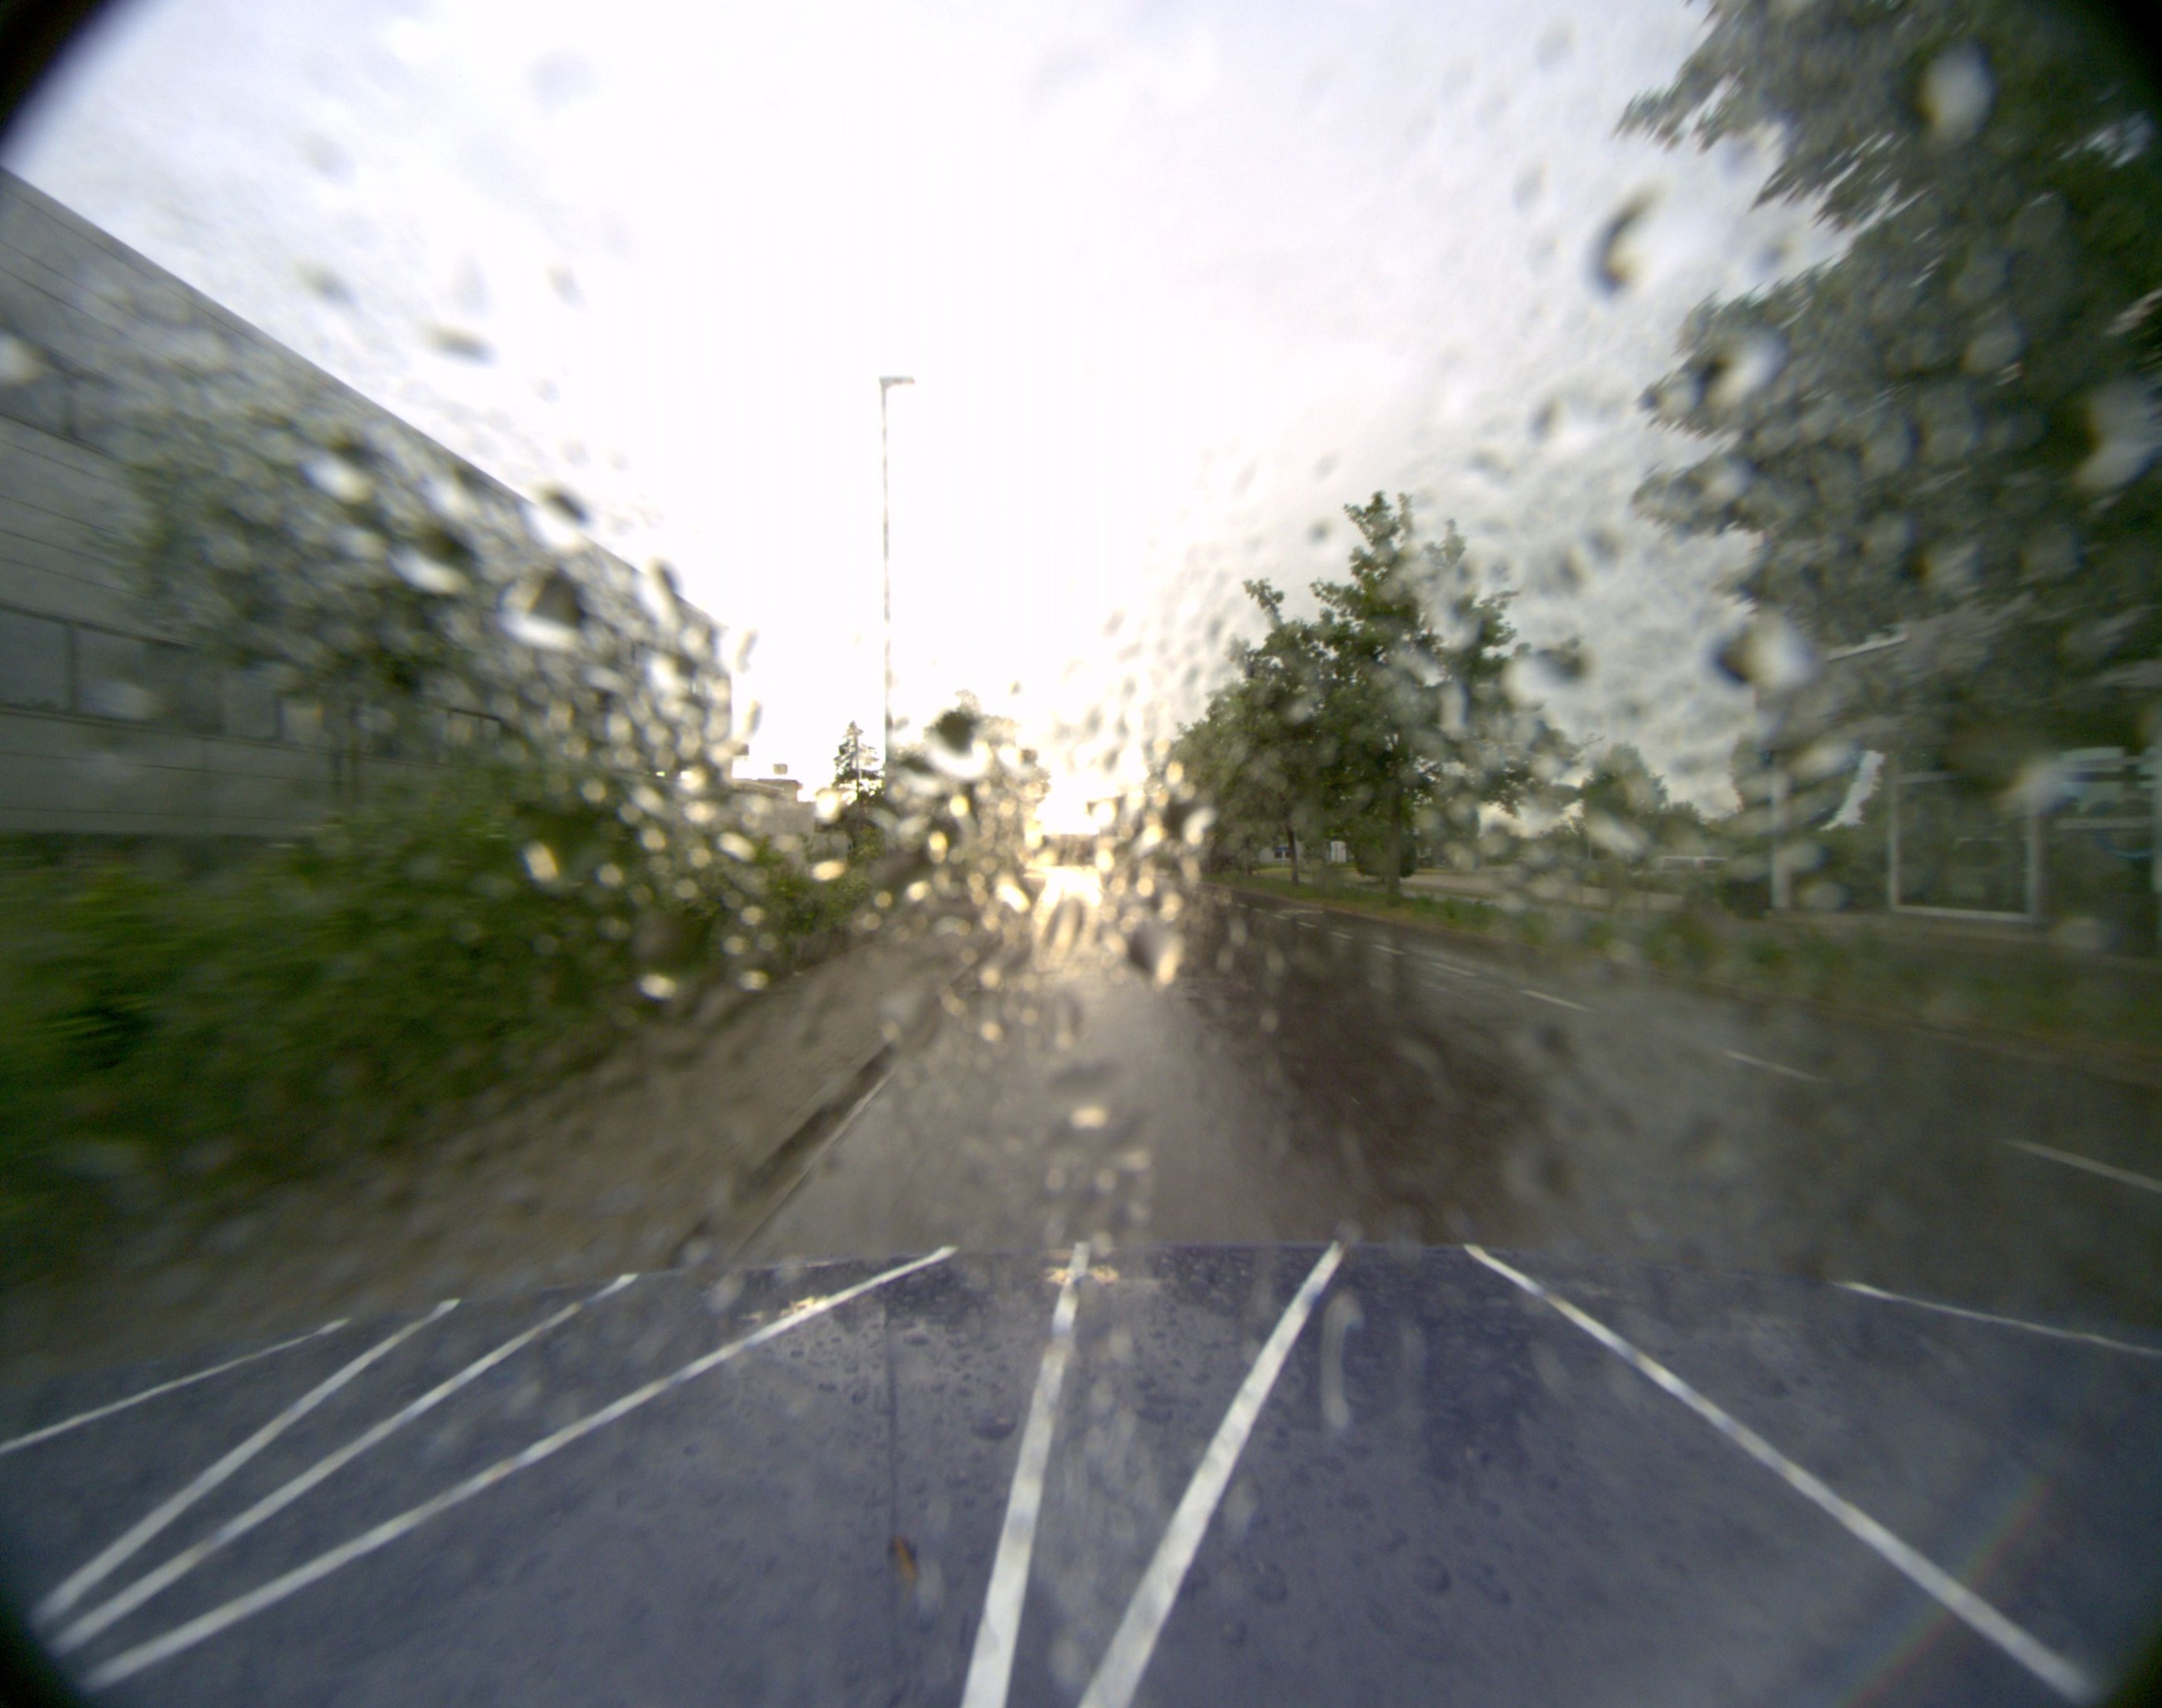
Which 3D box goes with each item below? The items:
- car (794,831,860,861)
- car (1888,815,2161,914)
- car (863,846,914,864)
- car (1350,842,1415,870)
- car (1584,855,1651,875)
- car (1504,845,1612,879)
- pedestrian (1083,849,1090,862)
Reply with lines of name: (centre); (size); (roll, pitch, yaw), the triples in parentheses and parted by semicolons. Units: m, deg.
car: (-21.784, -0.674, 65.202); (4.913, 2.423, 2.001); (0, 0, 5)
car: (24.310, 0.271, 19.621); (4.488, 2.297, 2.185); (-2, 0, 2)
car: (-16.437, 0.130, 65.084); (3.891, 1.490, 1.768); (0, 0, -2)
car: (20.599, 0.154, 52.185); (2.039, 1.811, 5.608); (-2, 0, -2)
car: (29.571, 0.616, 41.974); (1.357, 1.018, 3.172); (-2, 0, -1)
car: (24.339, 0.393, 38.889); (4.162, 1.547, 2.122); (-1, 1, 5)
pedestrian: (0.781, 0.175, 104.968); (0.747, 1.827, 0.889); (0, 0, -8)
